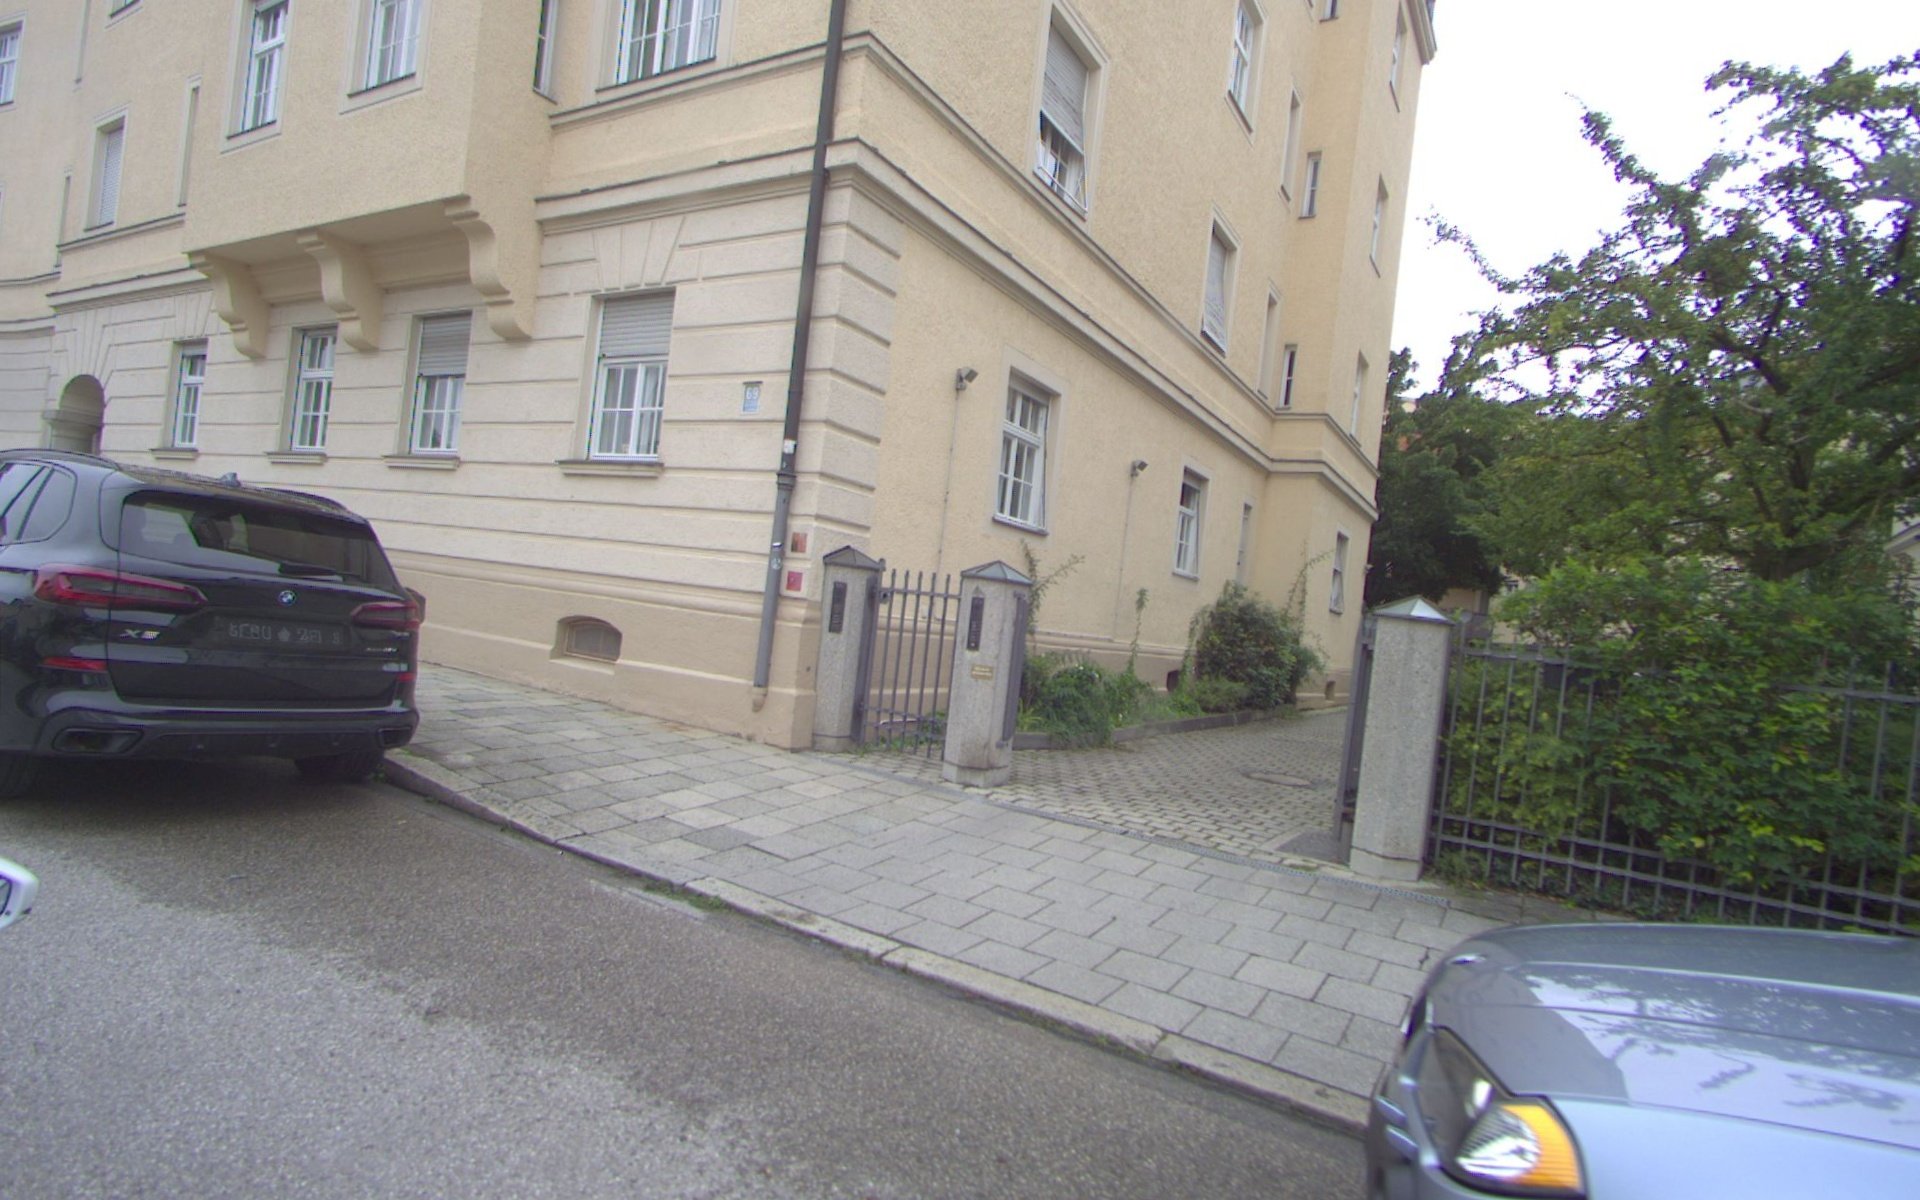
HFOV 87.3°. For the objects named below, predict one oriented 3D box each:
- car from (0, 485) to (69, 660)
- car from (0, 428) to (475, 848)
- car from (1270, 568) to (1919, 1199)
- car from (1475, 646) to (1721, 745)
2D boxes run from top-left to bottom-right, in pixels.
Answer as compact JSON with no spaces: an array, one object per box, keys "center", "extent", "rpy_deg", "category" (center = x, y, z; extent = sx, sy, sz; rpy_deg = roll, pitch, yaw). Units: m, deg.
[{"center":[-10.029,-0.429,9.516],"extent":[3.060,1.541,1.537],"rpy_deg":[6,-2,33],"category":"car"},{"center":[-5.359,0.026,6.206],"extent":[4.785,1.737,1.872],"rpy_deg":[6,-2,32],"category":"car"},{"center":[2.802,1.045,1.178],"extent":[4.383,1.654,1.725],"rpy_deg":[6,0,32],"category":"car"},{"center":[13.935,2.066,22.112],"extent":[4.168,1.568,1.932],"rpy_deg":[6,1,-7],"category":"car"}]
